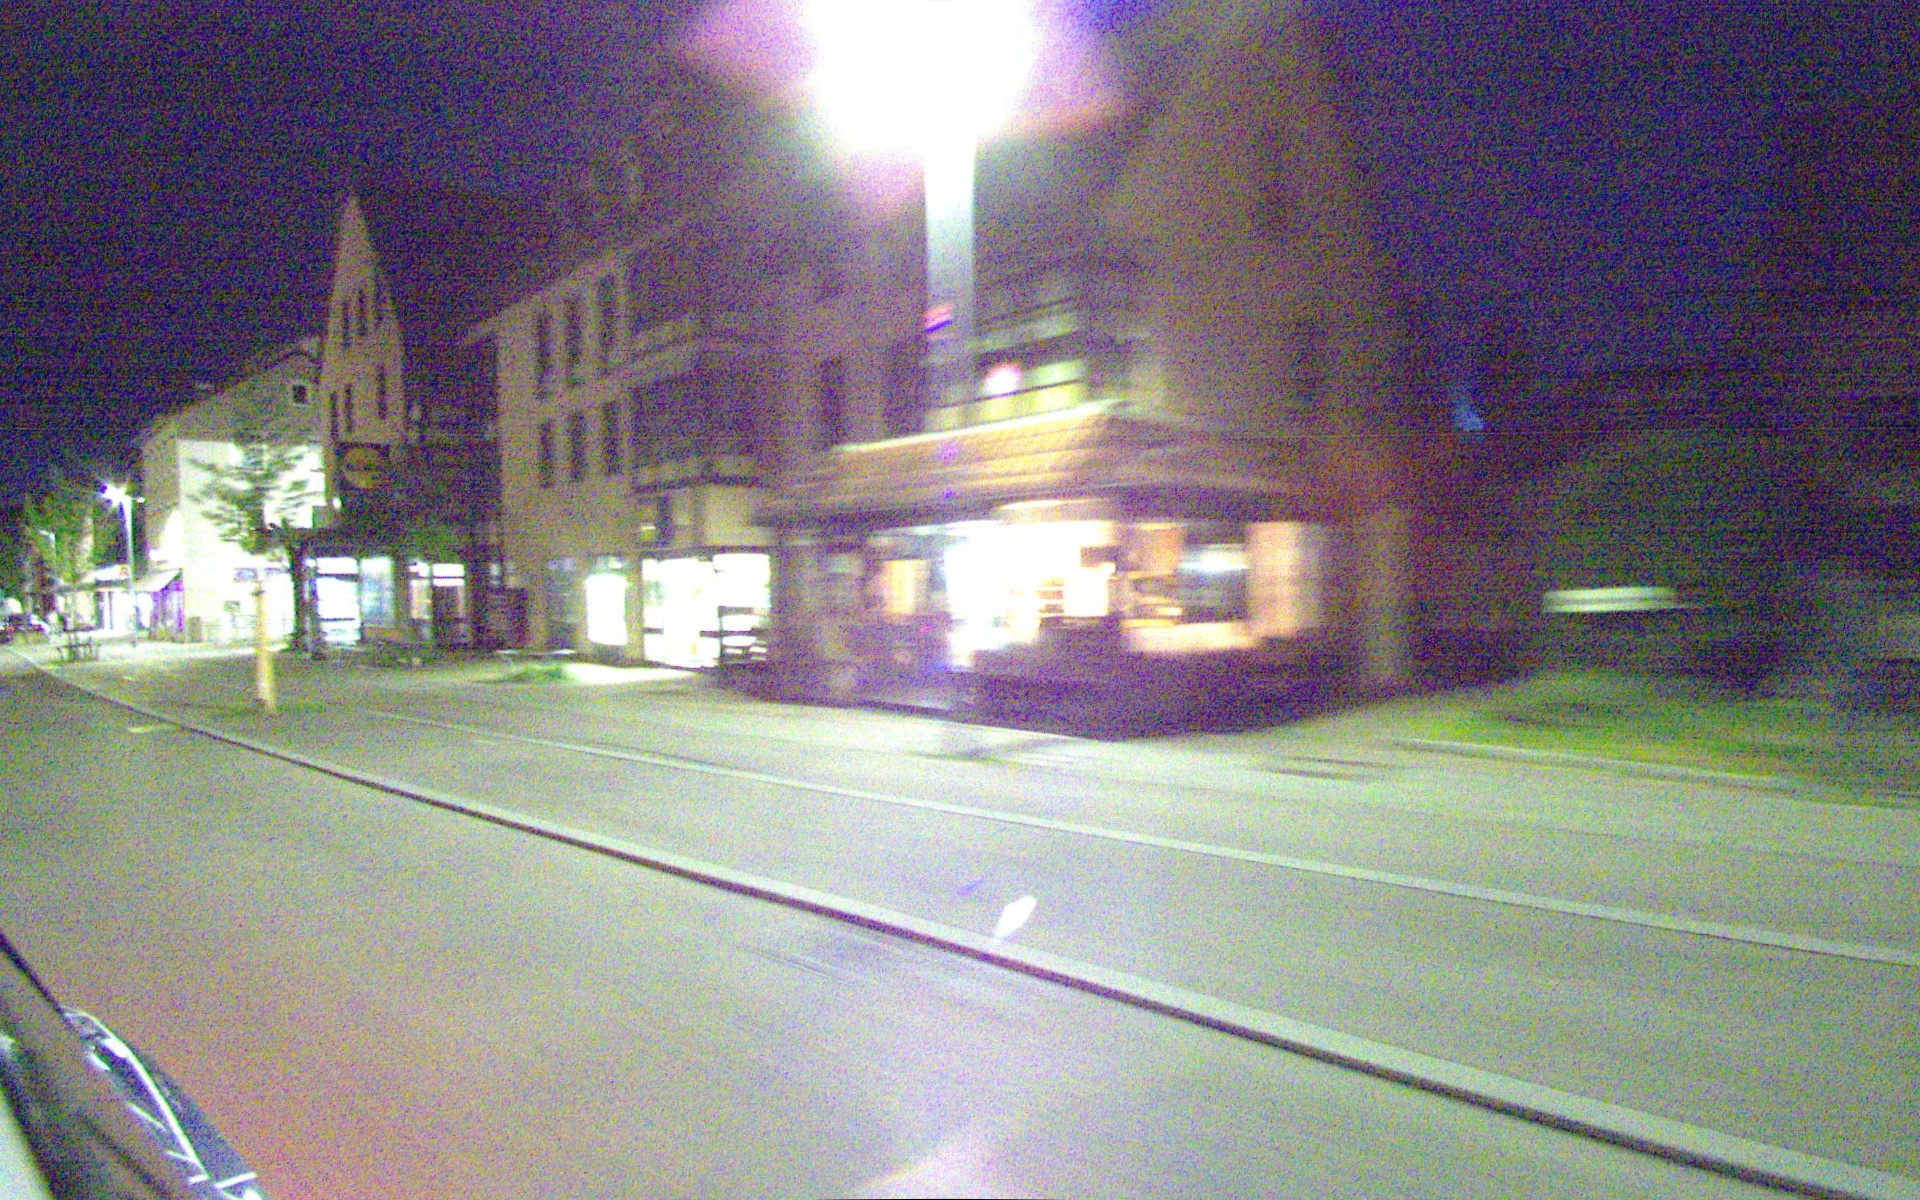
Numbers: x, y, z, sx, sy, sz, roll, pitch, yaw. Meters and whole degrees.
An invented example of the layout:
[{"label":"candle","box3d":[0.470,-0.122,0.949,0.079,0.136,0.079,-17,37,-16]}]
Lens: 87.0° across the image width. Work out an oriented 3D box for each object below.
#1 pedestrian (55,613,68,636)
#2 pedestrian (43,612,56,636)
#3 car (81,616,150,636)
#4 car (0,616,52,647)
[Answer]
[{"label":"pedestrian","box3d":[-61.306,1.665,69.060,0.664,1.600,0.523,-1,0,33]},{"label":"pedestrian","box3d":[-61.762,1.638,68.633,0.664,1.600,0.523,-1,0,35]},{"label":"car","box3d":[-62.043,1.899,74.374,1.653,1.427,3.781,-1,-1,43]},{"label":"car","box3d":[-48.504,1.598,52.288,4.930,1.430,1.876,-1,1,42]}]
